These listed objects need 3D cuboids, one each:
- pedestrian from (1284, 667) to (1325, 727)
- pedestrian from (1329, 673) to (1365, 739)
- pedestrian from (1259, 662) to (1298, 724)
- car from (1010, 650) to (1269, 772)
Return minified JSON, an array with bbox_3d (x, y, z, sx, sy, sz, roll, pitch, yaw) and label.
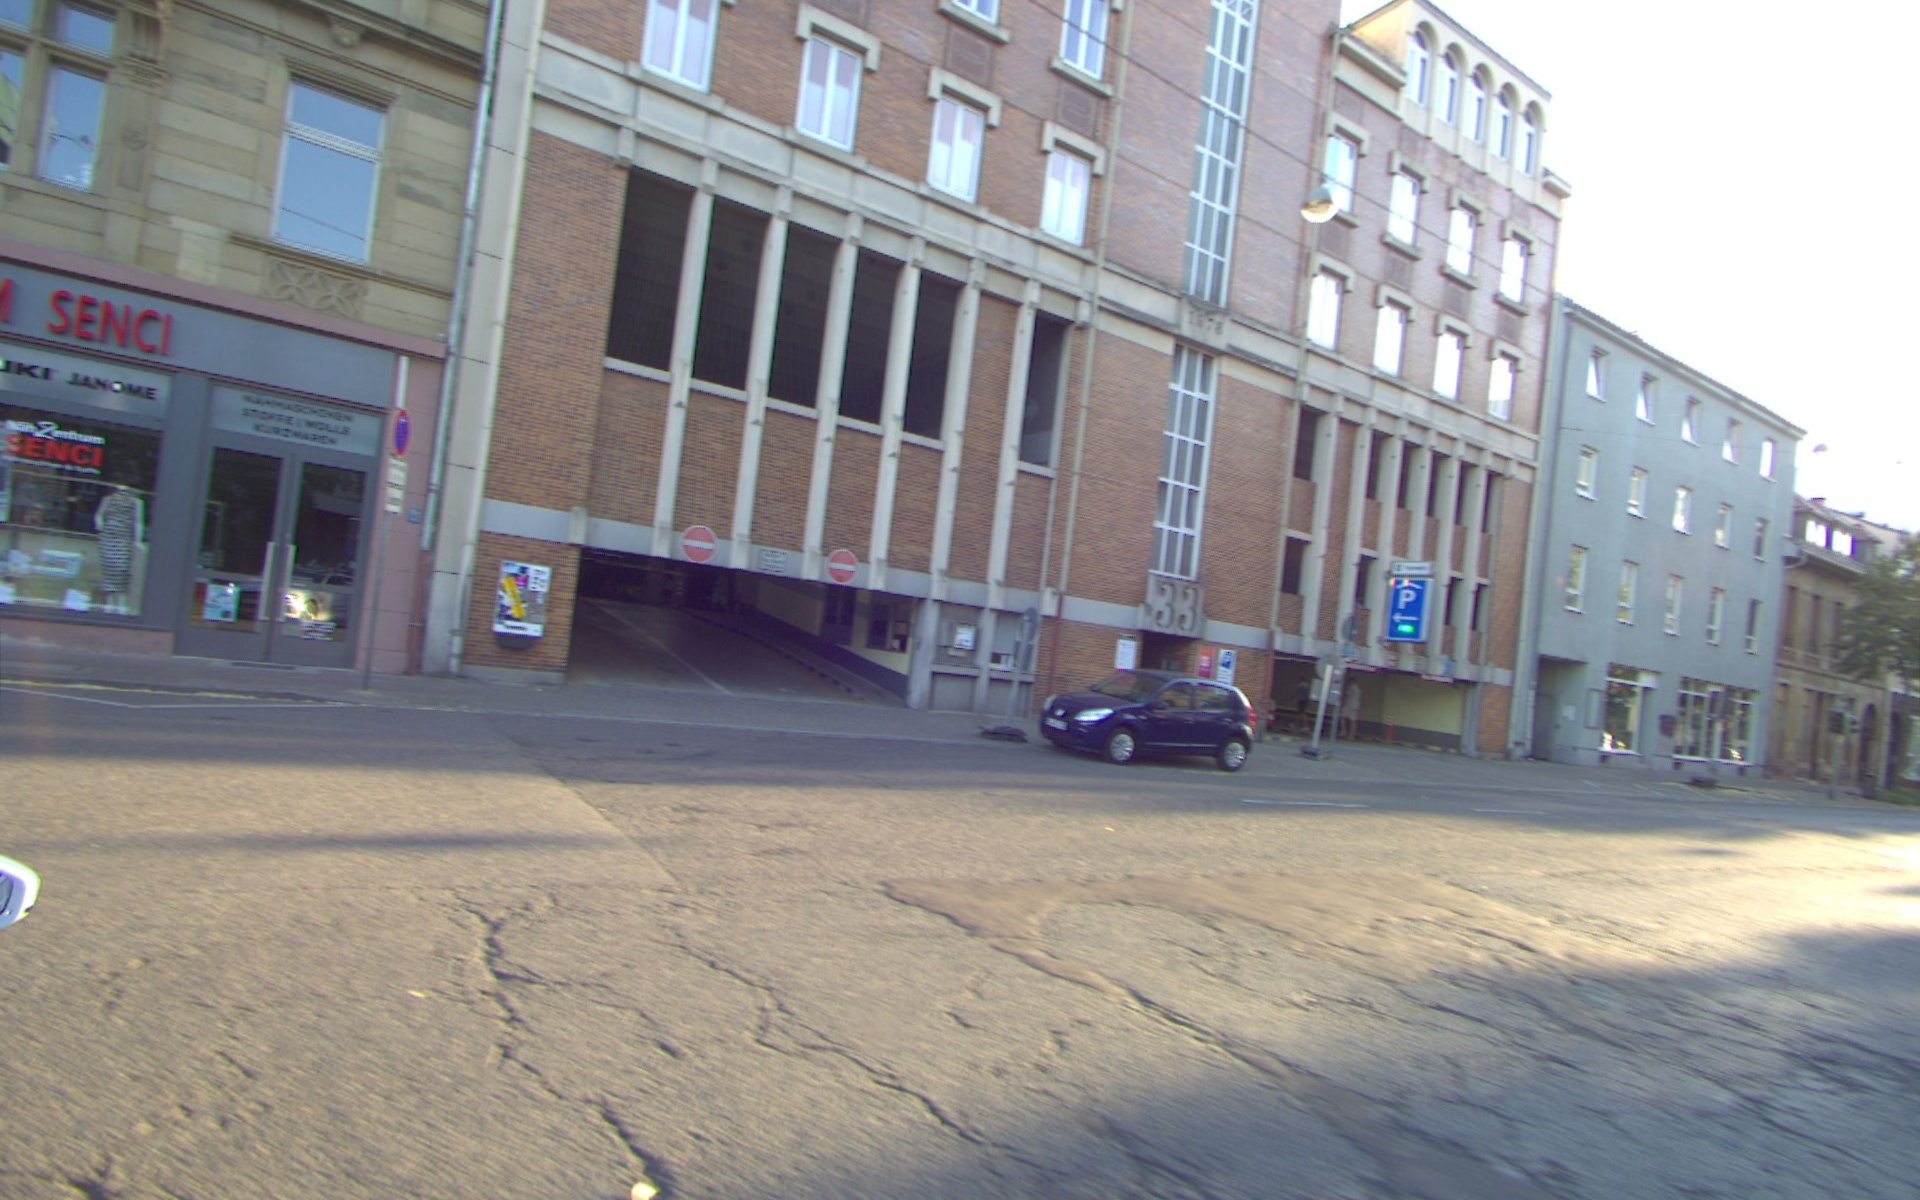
[{"bbox_3d":[10.784,3.034,31.513,0.883,1.770,0.673,6,-1,35],"label":"pedestrian"},{"bbox_3d":[11.376,3.113,29.551,0.669,1.849,0.673,6,-1,35],"label":"pedestrian"},{"bbox_3d":[10.217,2.994,32.280,0.883,1.854,0.635,6,-1,35],"label":"pedestrian"},{"bbox_3d":[3.107,1.916,17.297,3.961,1.537,1.984,9,-2,-31],"label":"car"}]
